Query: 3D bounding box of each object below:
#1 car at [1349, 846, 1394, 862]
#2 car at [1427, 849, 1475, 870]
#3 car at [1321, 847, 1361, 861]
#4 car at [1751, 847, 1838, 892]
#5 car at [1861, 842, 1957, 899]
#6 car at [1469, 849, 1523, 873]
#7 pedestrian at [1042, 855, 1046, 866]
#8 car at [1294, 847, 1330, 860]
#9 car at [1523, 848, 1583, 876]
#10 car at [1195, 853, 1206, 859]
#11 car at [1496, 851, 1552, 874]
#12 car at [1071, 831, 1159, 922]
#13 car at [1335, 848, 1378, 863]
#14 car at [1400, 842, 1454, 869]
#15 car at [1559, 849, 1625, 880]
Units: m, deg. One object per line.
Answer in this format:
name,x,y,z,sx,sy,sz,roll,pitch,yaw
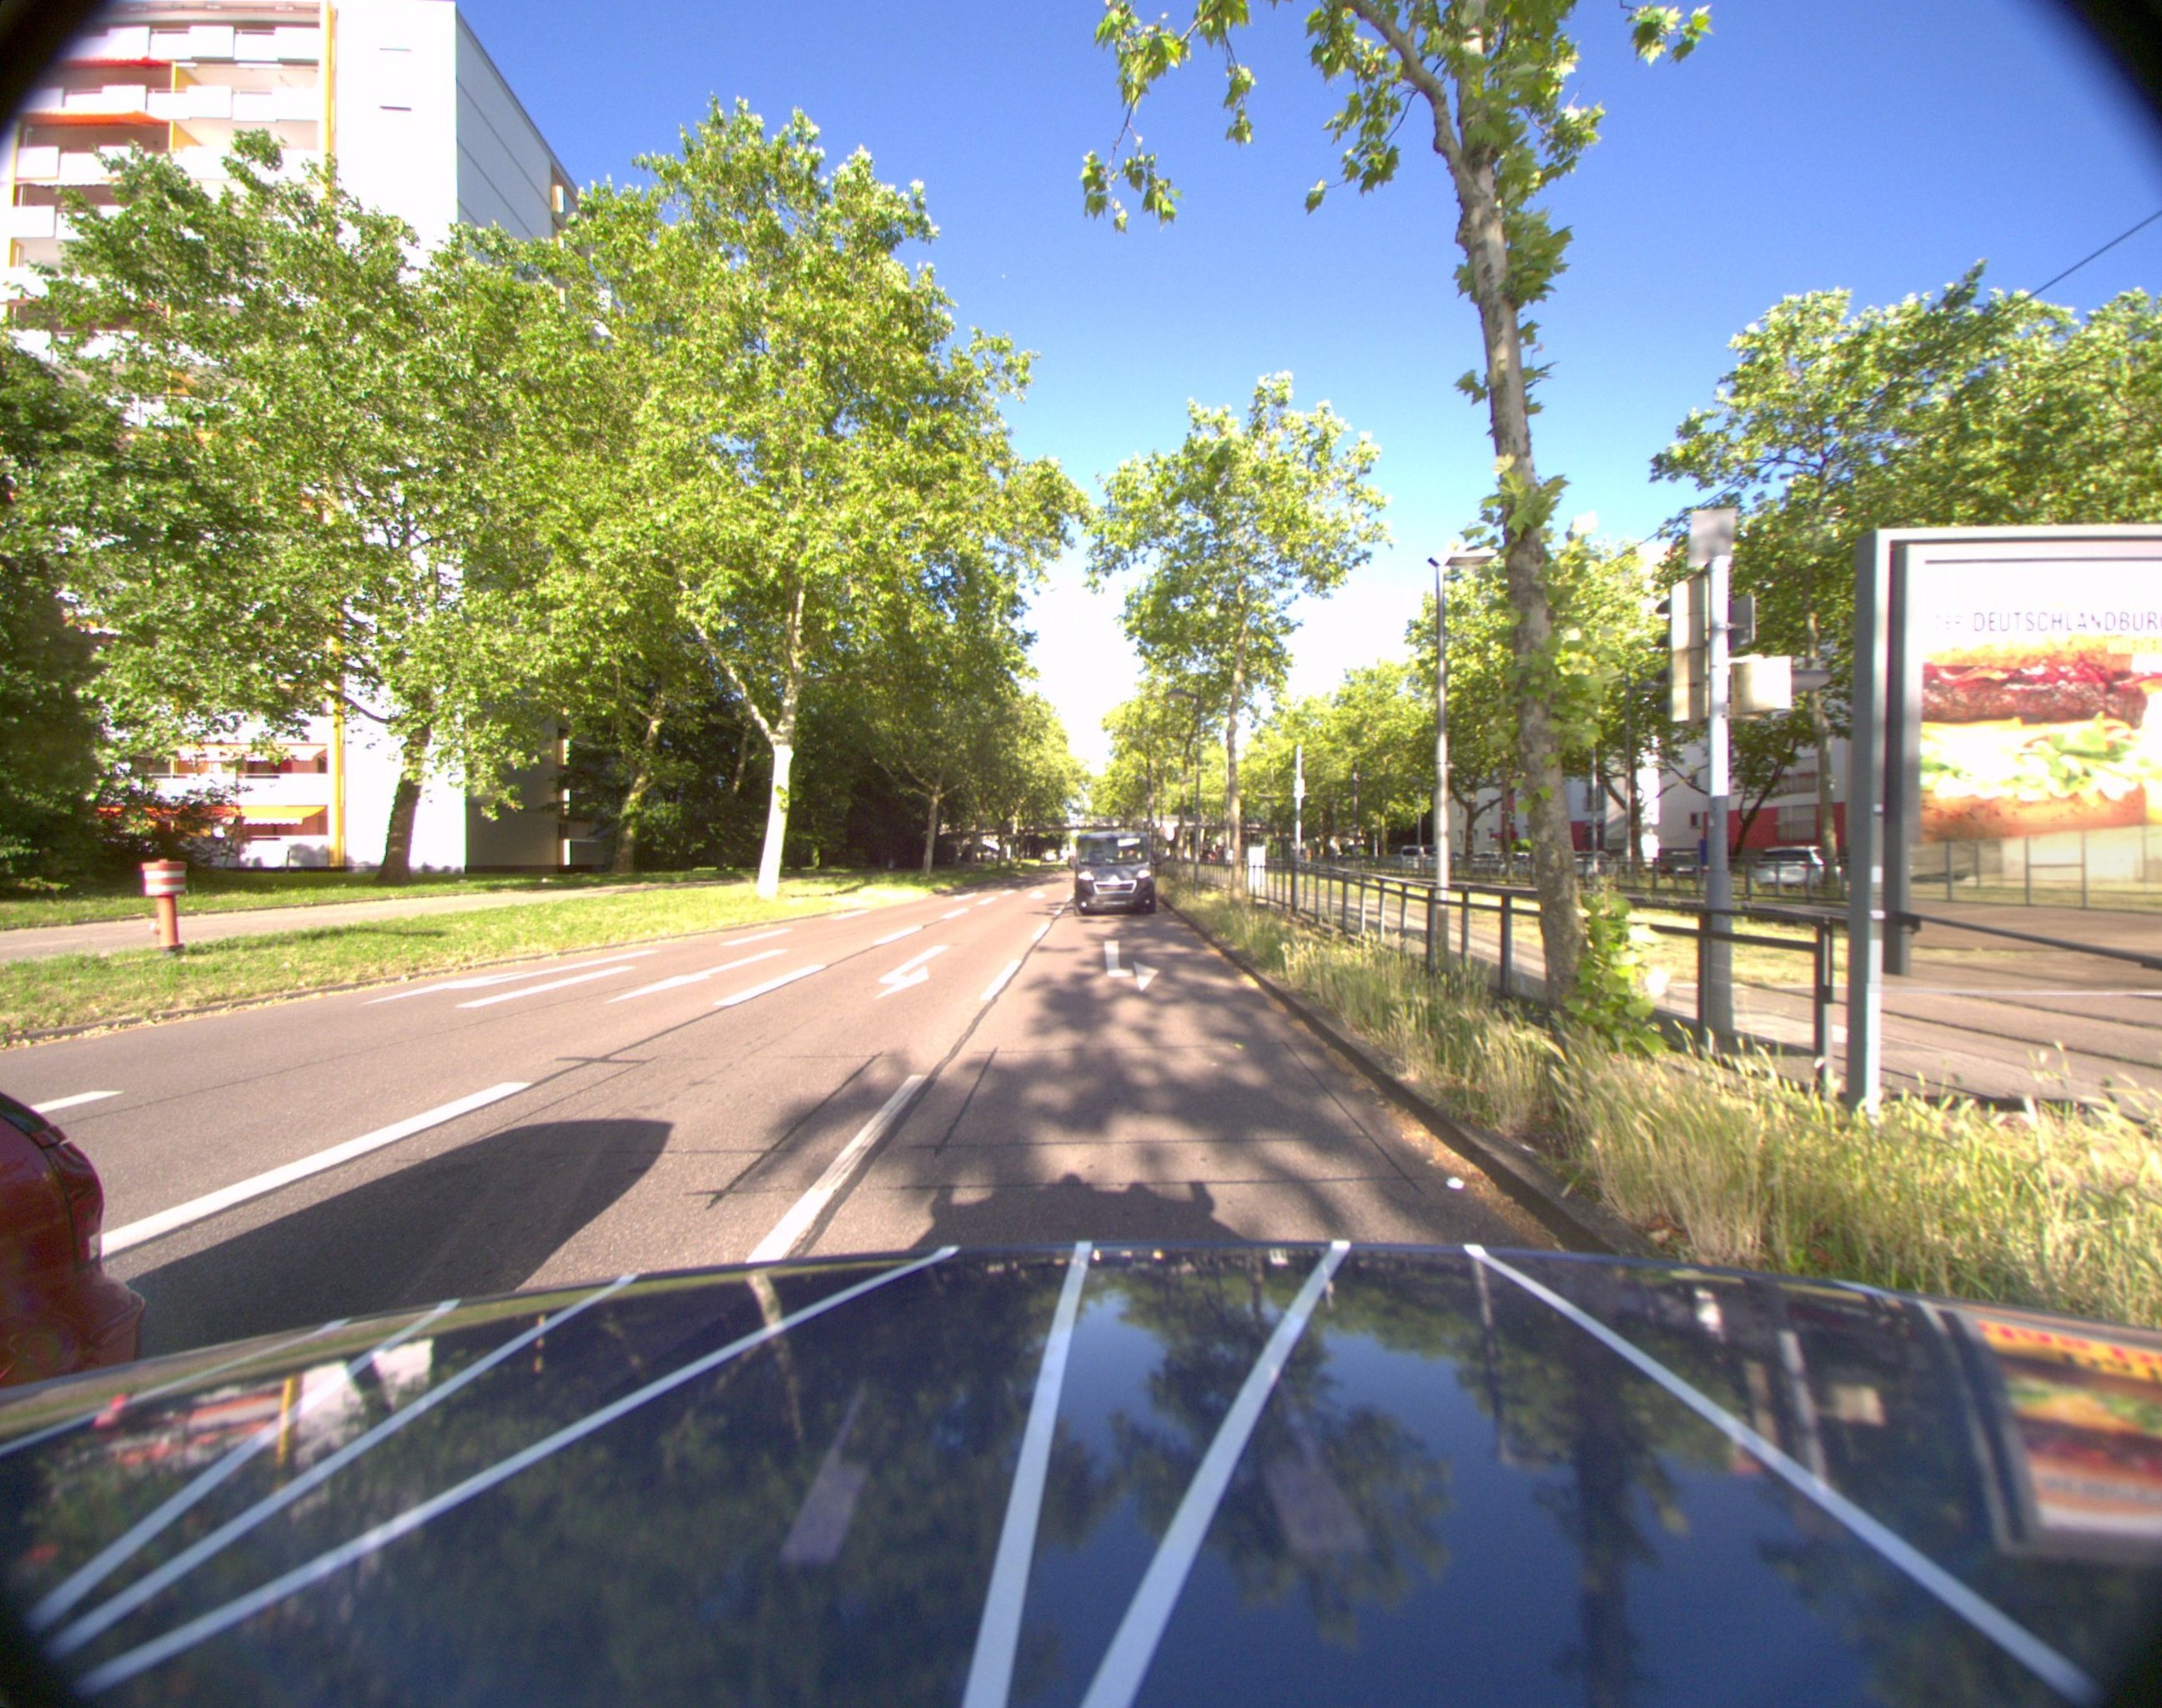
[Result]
car,26.907,-0.035,70.240,4.376,1.367,1.919,-1,1,-39
car,26.244,0.345,53.870,3.689,1.388,1.645,-1,1,-39
car,27.241,0.022,79.546,4.376,1.367,1.919,-1,1,-39
car,25.055,0.492,26.658,3.689,1.425,1.683,-1,1,-38
car,25.017,0.459,22.932,3.689,1.558,1.683,-1,1,-38
car,25.955,0.413,47.467,3.689,1.440,1.645,-1,1,-39
pedestrian,-5.067,0.919,104.381,0.418,1.454,0.398,-2,1,-37
car,27.199,-0.062,89.400,4.376,1.367,1.919,-1,1,-39
car,25.809,0.427,41.490,3.689,1.440,1.645,-1,1,-39
car,25.648,0.439,163.144,1.672,1.351,3.295,-1,0,1
car,26.199,0.479,44.932,3.689,1.234,1.645,-1,1,-39
car,0.839,0.526,20.583,2.040,2.102,5.113,-2,0,1
car,26.586,0.097,73.250,4.376,1.367,1.919,-1,1,-39
car,25.959,0.083,56.964,4.376,1.873,1.919,-1,1,-39
car,25.329,0.498,37.662,3.689,1.384,1.645,-1,1,-38
